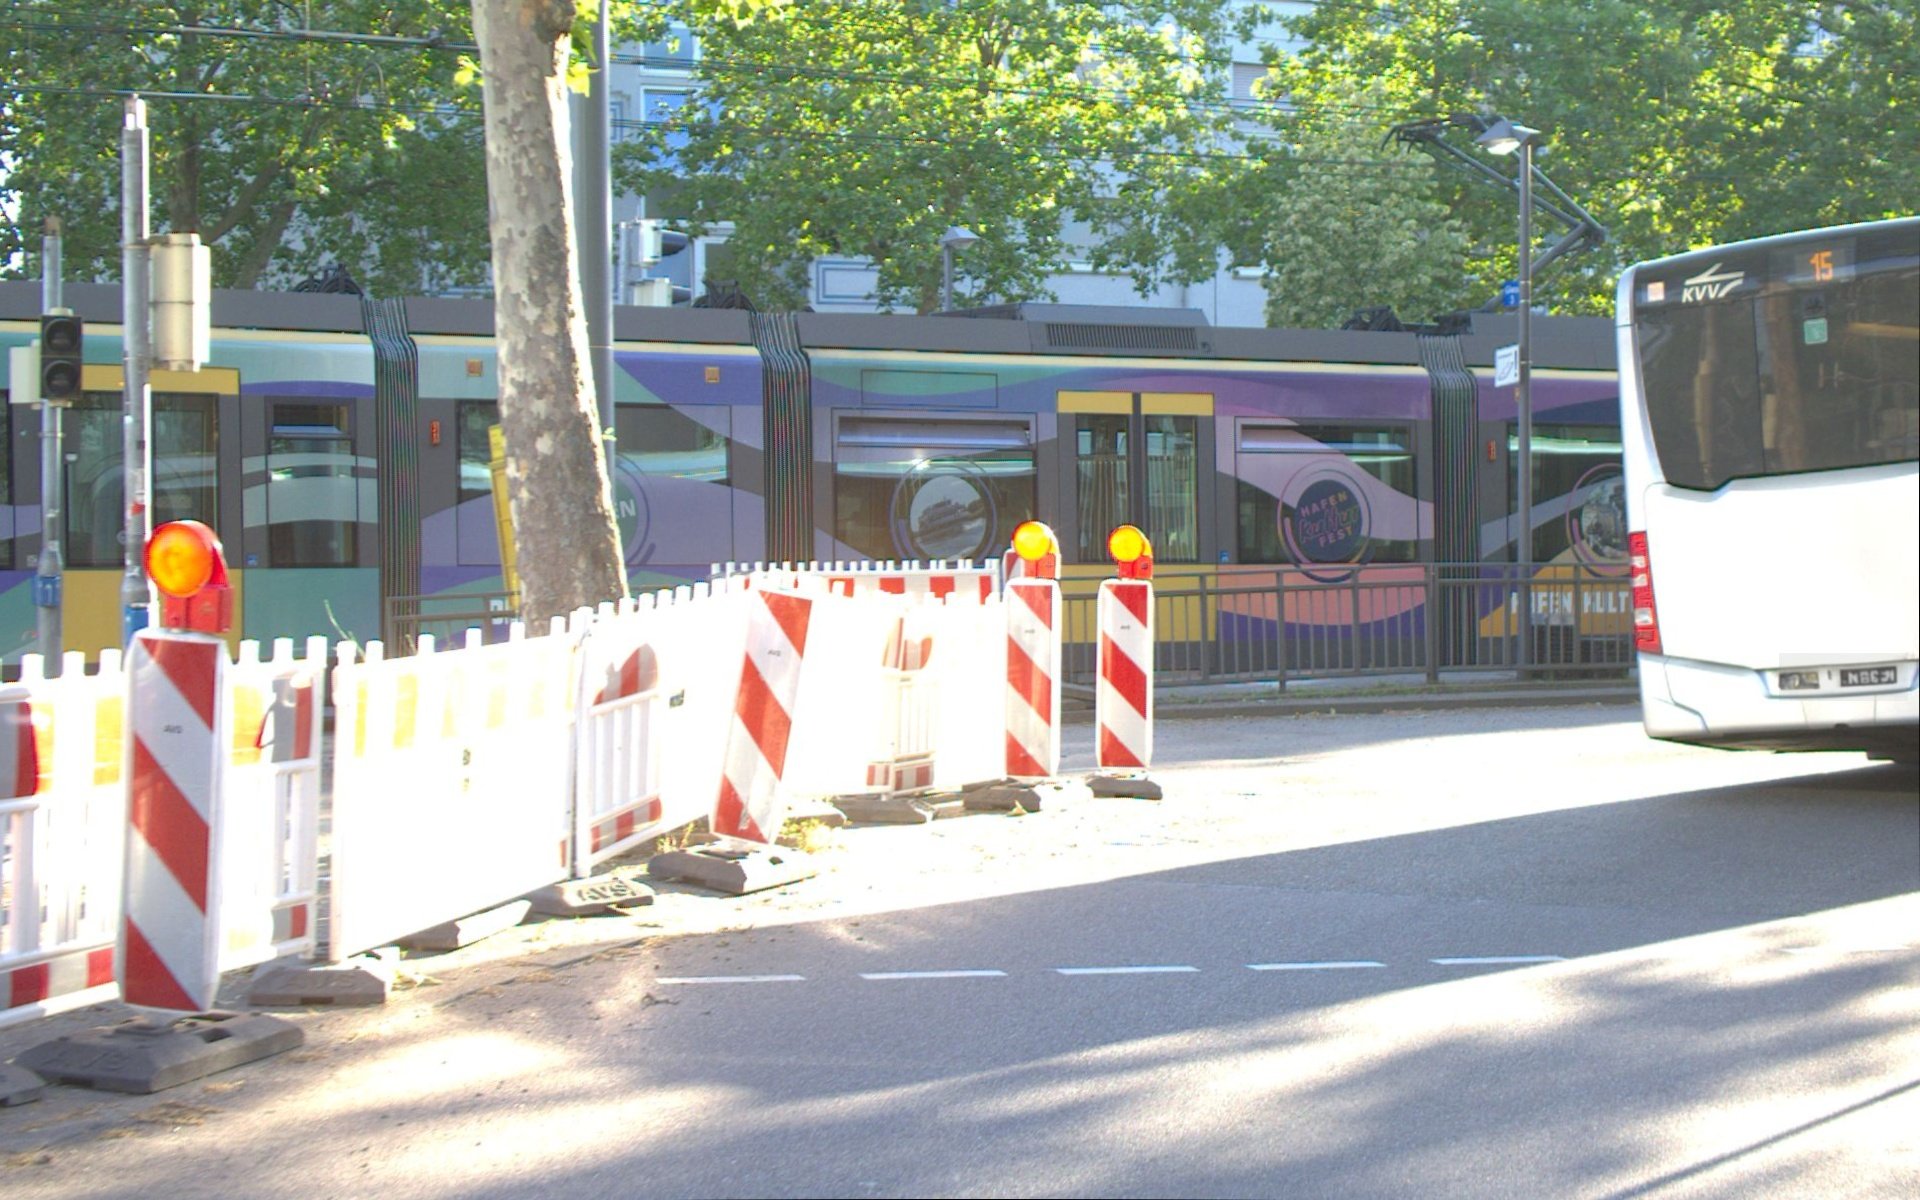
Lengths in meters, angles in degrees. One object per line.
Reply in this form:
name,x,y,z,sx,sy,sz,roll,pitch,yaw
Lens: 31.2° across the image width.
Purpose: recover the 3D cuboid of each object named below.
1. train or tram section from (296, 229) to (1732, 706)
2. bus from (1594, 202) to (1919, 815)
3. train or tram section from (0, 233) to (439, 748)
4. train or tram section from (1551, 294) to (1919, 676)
train or tram section,0.853,-1.040,29.789,12.741,3.537,2.738,0,1,-29
bus,8.131,-0.606,21.828,2.740,3.128,10.676,1,2,43
train or tram section,-10.060,-0.735,22.664,13.355,3.521,2.858,-1,1,-37
train or tram section,12.377,-1.112,35.768,13.287,3.507,2.650,0,1,-27
